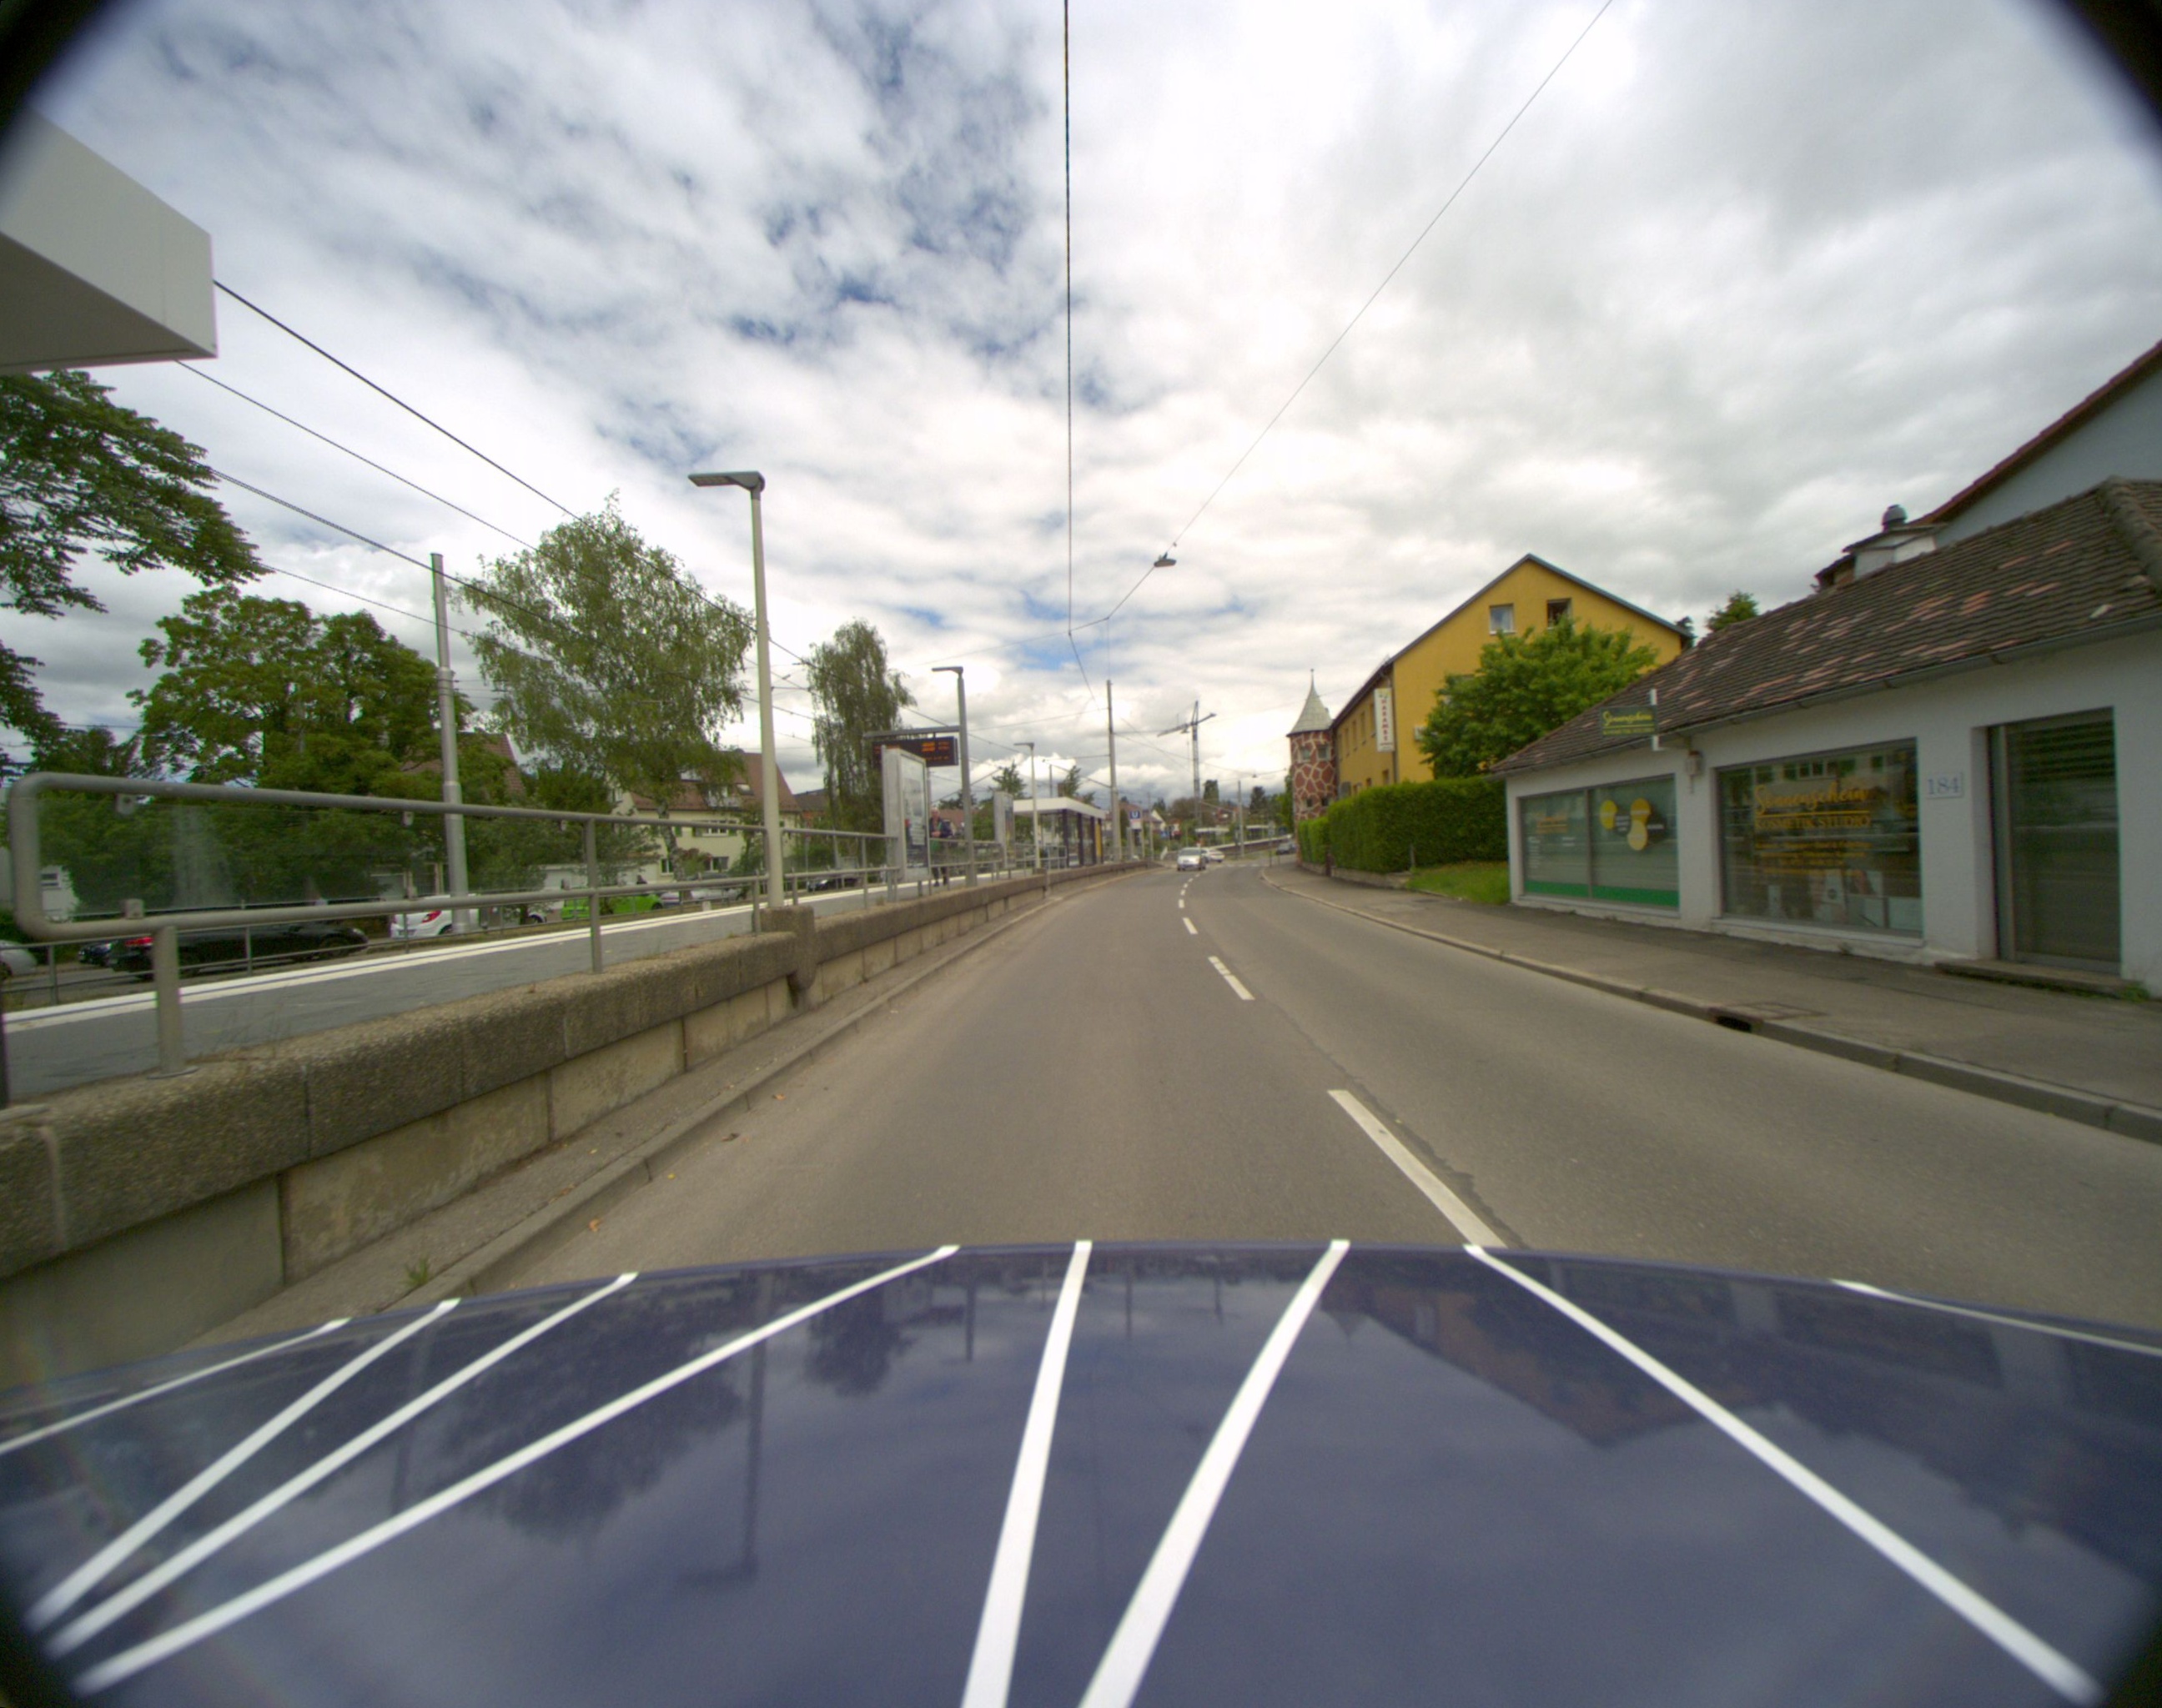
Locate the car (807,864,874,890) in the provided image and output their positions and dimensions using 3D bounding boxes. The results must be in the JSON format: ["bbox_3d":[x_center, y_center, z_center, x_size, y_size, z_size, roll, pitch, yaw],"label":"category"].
[{"bbox_3d":[-16.490,1.542,52.250,1.817,1.477,4.428,-3,1,24],"label":"car"}]

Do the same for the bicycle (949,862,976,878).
[{"bbox_3d":[-8.385,1.120,53.678,1.767,1.036,0.557,-3,1,19],"label":"bicycle"}]

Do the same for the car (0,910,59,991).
[{"bbox_3d":[-27.165,2.436,17.185,1.758,1.834,4.508,-3,1,27],"label":"car"}]

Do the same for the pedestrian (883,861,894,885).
[{"bbox_3d":[-15.266,1.517,60.162,0.625,1.903,0.830,-2,0,-5],"label":"pedestrian"}]

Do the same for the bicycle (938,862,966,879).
[{"bbox_3d":[-8.839,1.116,52.123,1.767,1.036,0.557,-3,1,19],"label":"bicycle"}]

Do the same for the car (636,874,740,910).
[{"bbox_3d":[-21.496,2.045,41.810,1.817,1.626,4.847,-3,1,28],"label":"car"}]

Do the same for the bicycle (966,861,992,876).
[{"bbox_3d":[-7.500,1.059,55.989,1.767,1.036,0.557,-3,1,19],"label":"bicycle"}]

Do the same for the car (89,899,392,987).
[{"bbox_3d":[-20.070,2.044,18.457,1.842,1.479,4.507,-3,1,23],"label":"car"}]

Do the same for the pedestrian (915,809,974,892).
[{"bbox_3d":[-2.866,-0.069,16.049,0.887,1.661,0.910,-3,1,9],"label":"pedestrian"}]

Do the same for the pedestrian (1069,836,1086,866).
[{"bbox_3d":[-0.166,-0.144,34.227,0.621,1.291,0.720,-3,1,7],"label":"pedestrian"}]

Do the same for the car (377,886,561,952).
[{"bbox_3d":[-18.496,1.904,23.229,1.759,1.565,4.103,-3,1,12],"label":"car"}]

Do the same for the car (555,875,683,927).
[{"bbox_3d":[-17.173,1.703,28.513,1.733,1.565,4.003,-3,1,12],"label":"car"}]

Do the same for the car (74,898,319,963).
[{"bbox_3d":[-29.103,2.439,25.266,1.758,1.480,4.936,-2,2,25],"label":"car"}]

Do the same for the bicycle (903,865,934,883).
[{"bbox_3d":[-10.106,1.235,47.238,1.768,1.036,0.557,-3,1,9],"label":"bicycle"}]

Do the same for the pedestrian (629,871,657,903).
[{"bbox_3d":[-24.032,1.796,41.688,0.809,1.676,0.949,-3,1,12],"label":"pedestrian"}]

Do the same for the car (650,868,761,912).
[{"bbox_3d":[-16.299,1.537,33.246,2.066,1.565,4.264,-3,1,12],"label":"car"}]

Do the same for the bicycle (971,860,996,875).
[{"bbox_3d":[-7.272,1.034,56.671,1.767,1.036,0.557,-3,1,19],"label":"bicycle"}]
